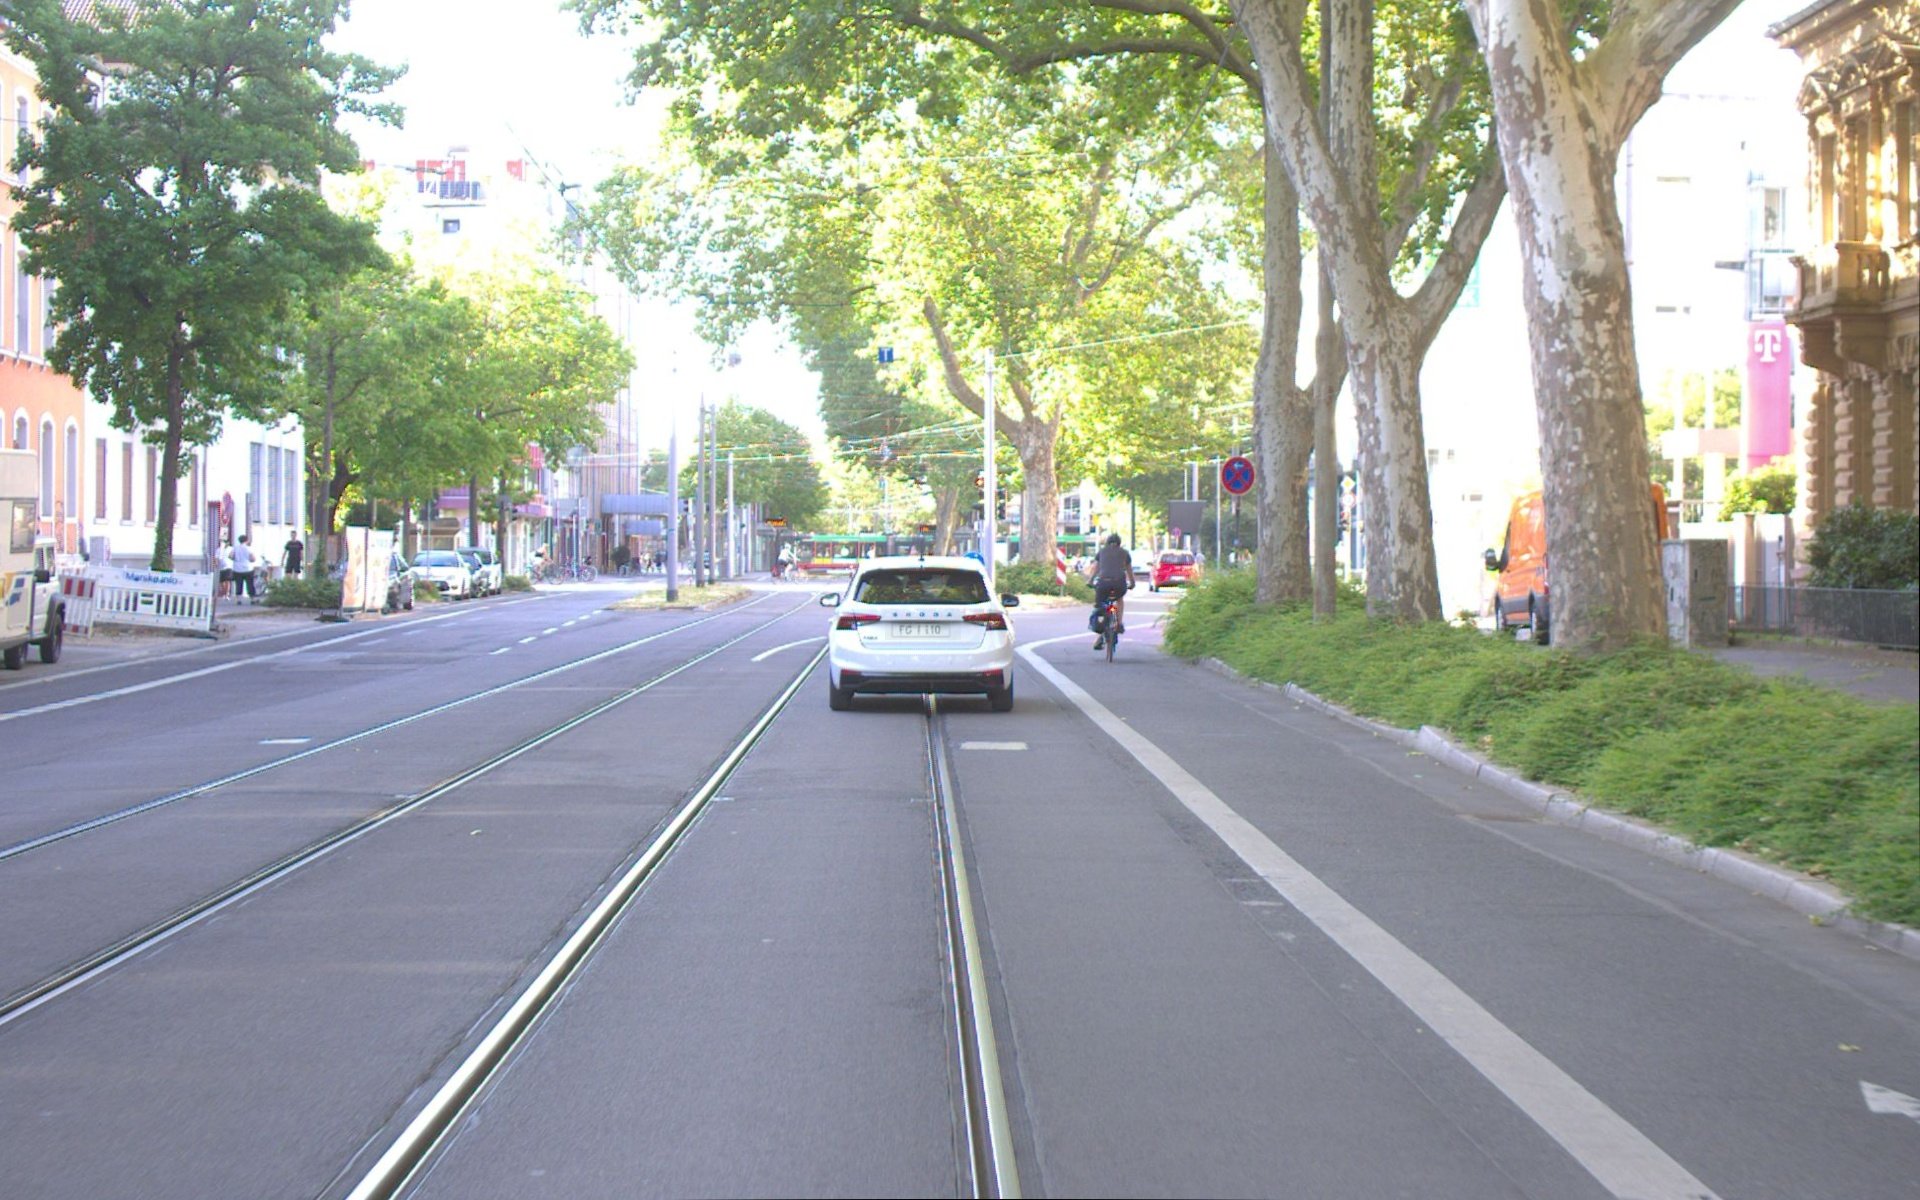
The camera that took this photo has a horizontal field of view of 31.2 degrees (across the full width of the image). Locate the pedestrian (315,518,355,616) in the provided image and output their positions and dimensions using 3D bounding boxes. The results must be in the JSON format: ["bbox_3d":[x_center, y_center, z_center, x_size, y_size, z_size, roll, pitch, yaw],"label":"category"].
[{"bbox_3d":[-12.932,-0.685,71.138,0.601,1.996,0.749,1,1,3],"label":"pedestrian"}]

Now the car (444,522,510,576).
[{"bbox_3d":[-15.766,-1.670,112.296,1.793,1.720,3.785,1,1,-3],"label":"car"}]

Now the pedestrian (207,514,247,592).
[{"bbox_3d":[-18.979,-1.217,89.016,0.748,1.996,0.647,2,1,37],"label":"pedestrian"}]

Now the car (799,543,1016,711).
[{"bbox_3d":[-0.557,0.216,32.872,1.842,1.475,3.839,1,1,-4],"label":"car"}]

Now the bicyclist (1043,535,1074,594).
[{"bbox_3d":[2.652,-0.965,92.578,0.737,1.583,0.586,0,1,11],"label":"bicyclist"}]

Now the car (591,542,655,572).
[{"bbox_3d":[-21.844,-2.805,222.781,3.794,1.812,1.803,2,1,5],"label":"car"}]

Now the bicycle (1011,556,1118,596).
[{"bbox_3d":[2.815,-0.648,92.557,2.771,0.996,0.592,2,1,13],"label":"bicycle"}]

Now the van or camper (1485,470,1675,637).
[{"bbox_3d":[9.721,-0.736,54.265,2.027,2.455,5.108,2,1,0],"label":"van or camper"}]

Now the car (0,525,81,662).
[{"bbox_3d":[-12.755,-0.126,45.104,1.641,1.720,3.785,1,1,-3],"label":"car"}]

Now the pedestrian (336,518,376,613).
[{"bbox_3d":[-12.820,-0.733,73.004,0.646,1.996,0.749,1,1,3],"label":"pedestrian"}]

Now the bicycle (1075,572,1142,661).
[{"bbox_3d":[2.042,0.213,47.590,0.680,1.151,2.964,2,1,-2],"label":"bicycle"}]

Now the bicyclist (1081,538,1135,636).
[{"bbox_3d":[2.045,-0.181,47.559,0.679,1.334,0.525,2,1,-2],"label":"bicyclist"}]

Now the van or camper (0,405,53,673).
[{"bbox_3d":[-12.309,-0.716,38.837,2.216,3.129,7.114,1,1,0],"label":"van or camper"}]

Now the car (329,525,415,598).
[{"bbox_3d":[-14.456,-0.950,84.709,1.641,1.720,3.785,1,1,-3],"label":"car"}]

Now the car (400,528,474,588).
[{"bbox_3d":[-15.505,-1.249,102.099,1.793,1.720,3.785,1,1,-3],"label":"car"}]

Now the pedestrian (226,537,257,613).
[{"bbox_3d":[-16.816,-0.583,80.491,0.600,1.766,0.701,2,1,-6],"label":"pedestrian"}]

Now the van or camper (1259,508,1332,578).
[{"bbox_3d":[11.657,-1.970,119.685,1.993,2.335,4.000,2,1,-1],"label":"van or camper"}]
